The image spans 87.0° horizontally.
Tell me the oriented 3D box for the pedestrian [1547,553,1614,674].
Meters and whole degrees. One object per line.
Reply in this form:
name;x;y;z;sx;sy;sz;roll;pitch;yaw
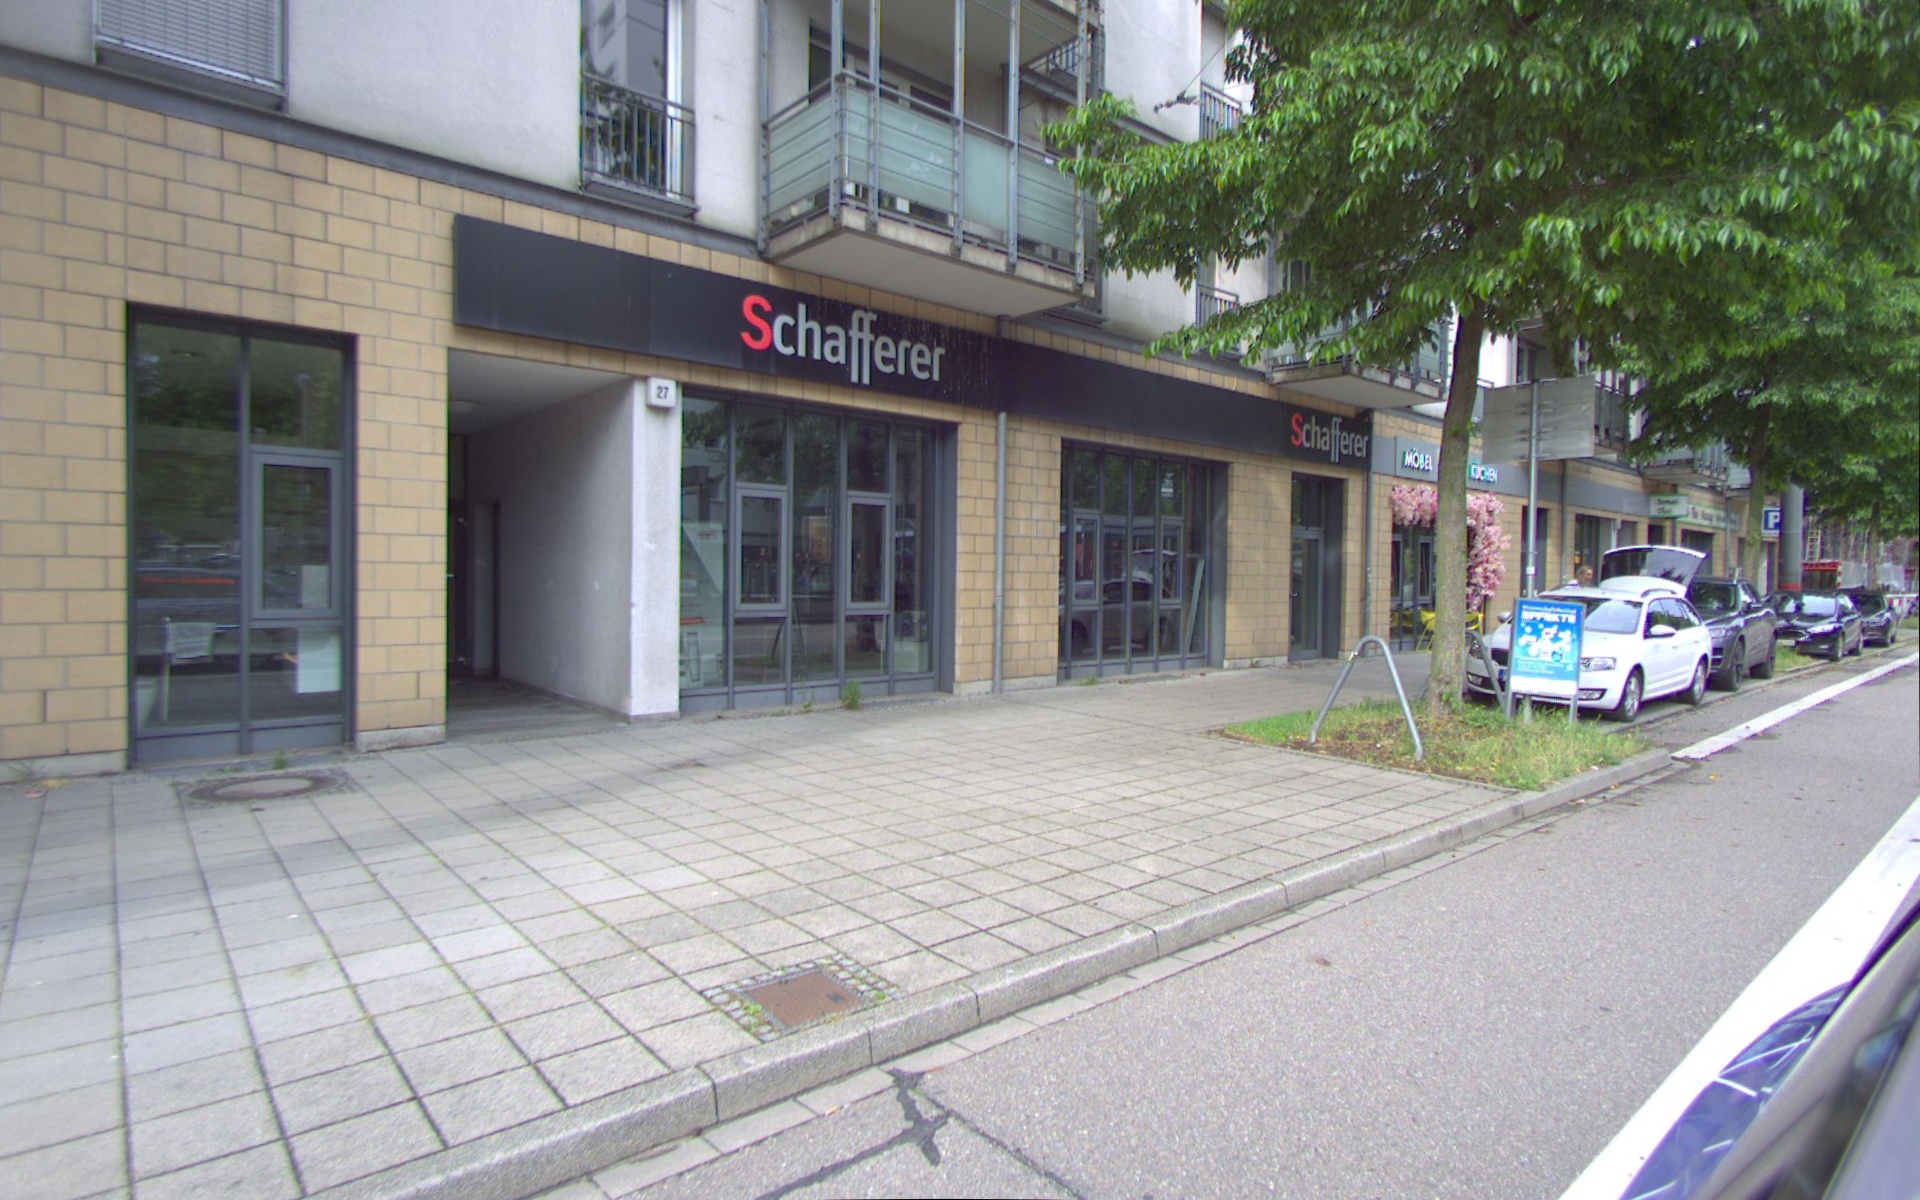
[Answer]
pedestrian;9.323;0.181;15.206;0.735;1.738;0.609;3;2;39

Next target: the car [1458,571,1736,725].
car;8.122;0.473;12.753;4.233;1.539;1.738;-1;5;-41

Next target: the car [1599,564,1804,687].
car;11.795;0.317;16.026;3.732;1.630;1.738;-1;5;-41

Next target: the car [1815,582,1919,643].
car;24.156;0.286;26.868;3.603;1.417;1.612;-1;5;-41

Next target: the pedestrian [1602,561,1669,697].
pedestrian;9.734;0.392;14.589;0.588;1.907;0.656;0;1;-40

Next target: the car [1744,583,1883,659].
car;18.635;0.385;22.042;4.095;1.394;1.612;-1;5;-41
